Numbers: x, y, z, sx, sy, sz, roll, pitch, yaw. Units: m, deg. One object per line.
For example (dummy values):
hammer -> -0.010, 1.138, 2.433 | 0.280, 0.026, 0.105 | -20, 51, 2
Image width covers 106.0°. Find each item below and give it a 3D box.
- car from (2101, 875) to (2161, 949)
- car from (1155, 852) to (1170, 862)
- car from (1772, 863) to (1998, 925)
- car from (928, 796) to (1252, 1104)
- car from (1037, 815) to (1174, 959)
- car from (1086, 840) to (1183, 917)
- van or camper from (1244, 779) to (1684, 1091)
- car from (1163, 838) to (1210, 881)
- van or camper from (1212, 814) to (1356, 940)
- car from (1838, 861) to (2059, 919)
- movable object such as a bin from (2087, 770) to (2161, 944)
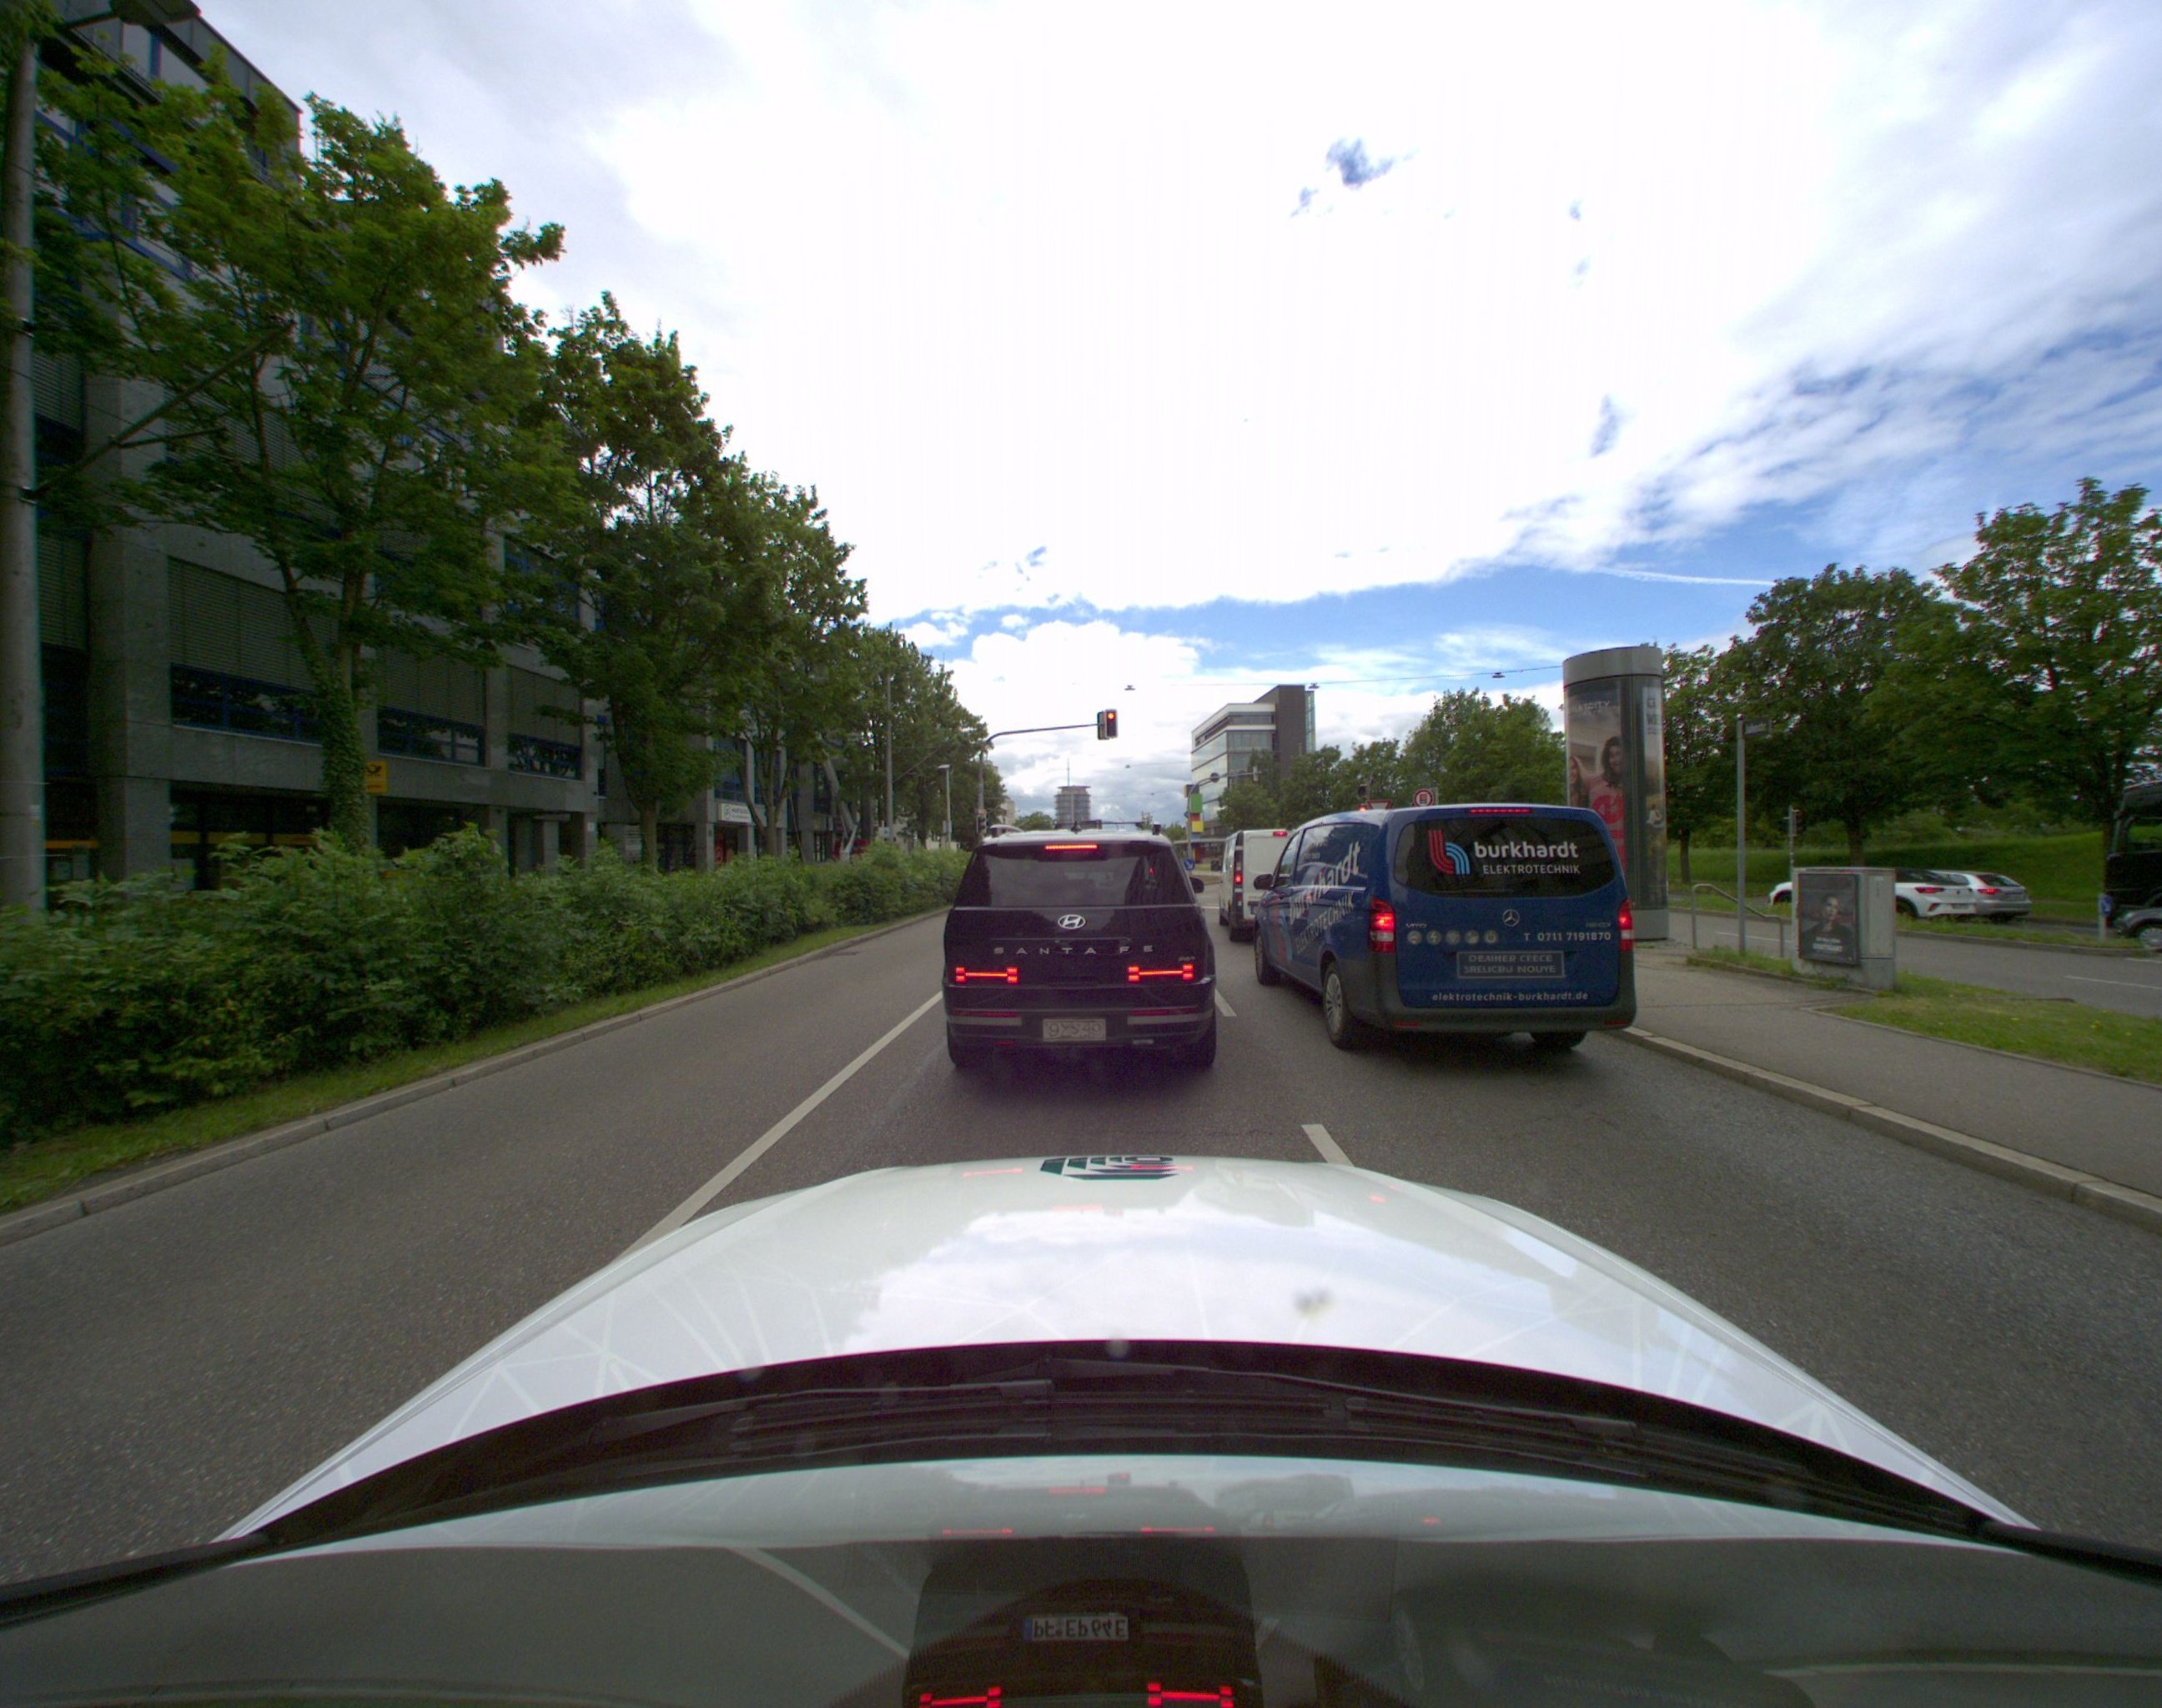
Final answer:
car -> 23.009, 1.219, 15.538 | 1.994, 1.453, 3.985 | 1, 0, -11
car -> 13.176, 0.500, 131.726 | 1.987, 1.684, 3.998 | -1, -1, -1
car -> 21.770, 1.016, 22.289 | 1.994, 1.453, 3.985 | 1, 0, -11
car -> 0.114, 0.565, 6.722 | 1.862, 1.760, 3.881 | -1, 0, 2
car -> 0.410, 0.474, 13.555 | 1.908, 2.003, 3.881 | -1, 0, 2
car -> 1.472, 0.579, 20.529 | 1.764, 1.717, 4.353 | -1, -1, 12
van or camper -> 2.891, 0.509, 7.606 | 1.853, 1.911, 5.034 | -1, 0, 2
car -> 5.194, 0.268, 40.407 | 1.985, 2.014, 4.003 | -1, -1, 3
van or camper -> 3.639, 0.374, 15.456 | 1.984, 2.013, 4.660 | -1, 0, 5
car -> 25.103, 0.995, 23.787 | 1.994, 1.453, 3.985 | 1, 0, -11
movable object such as a bin -> 26.264, 0.009, 15.519 | 2.860, 3.903, 8.536 | -1, -1, -11
